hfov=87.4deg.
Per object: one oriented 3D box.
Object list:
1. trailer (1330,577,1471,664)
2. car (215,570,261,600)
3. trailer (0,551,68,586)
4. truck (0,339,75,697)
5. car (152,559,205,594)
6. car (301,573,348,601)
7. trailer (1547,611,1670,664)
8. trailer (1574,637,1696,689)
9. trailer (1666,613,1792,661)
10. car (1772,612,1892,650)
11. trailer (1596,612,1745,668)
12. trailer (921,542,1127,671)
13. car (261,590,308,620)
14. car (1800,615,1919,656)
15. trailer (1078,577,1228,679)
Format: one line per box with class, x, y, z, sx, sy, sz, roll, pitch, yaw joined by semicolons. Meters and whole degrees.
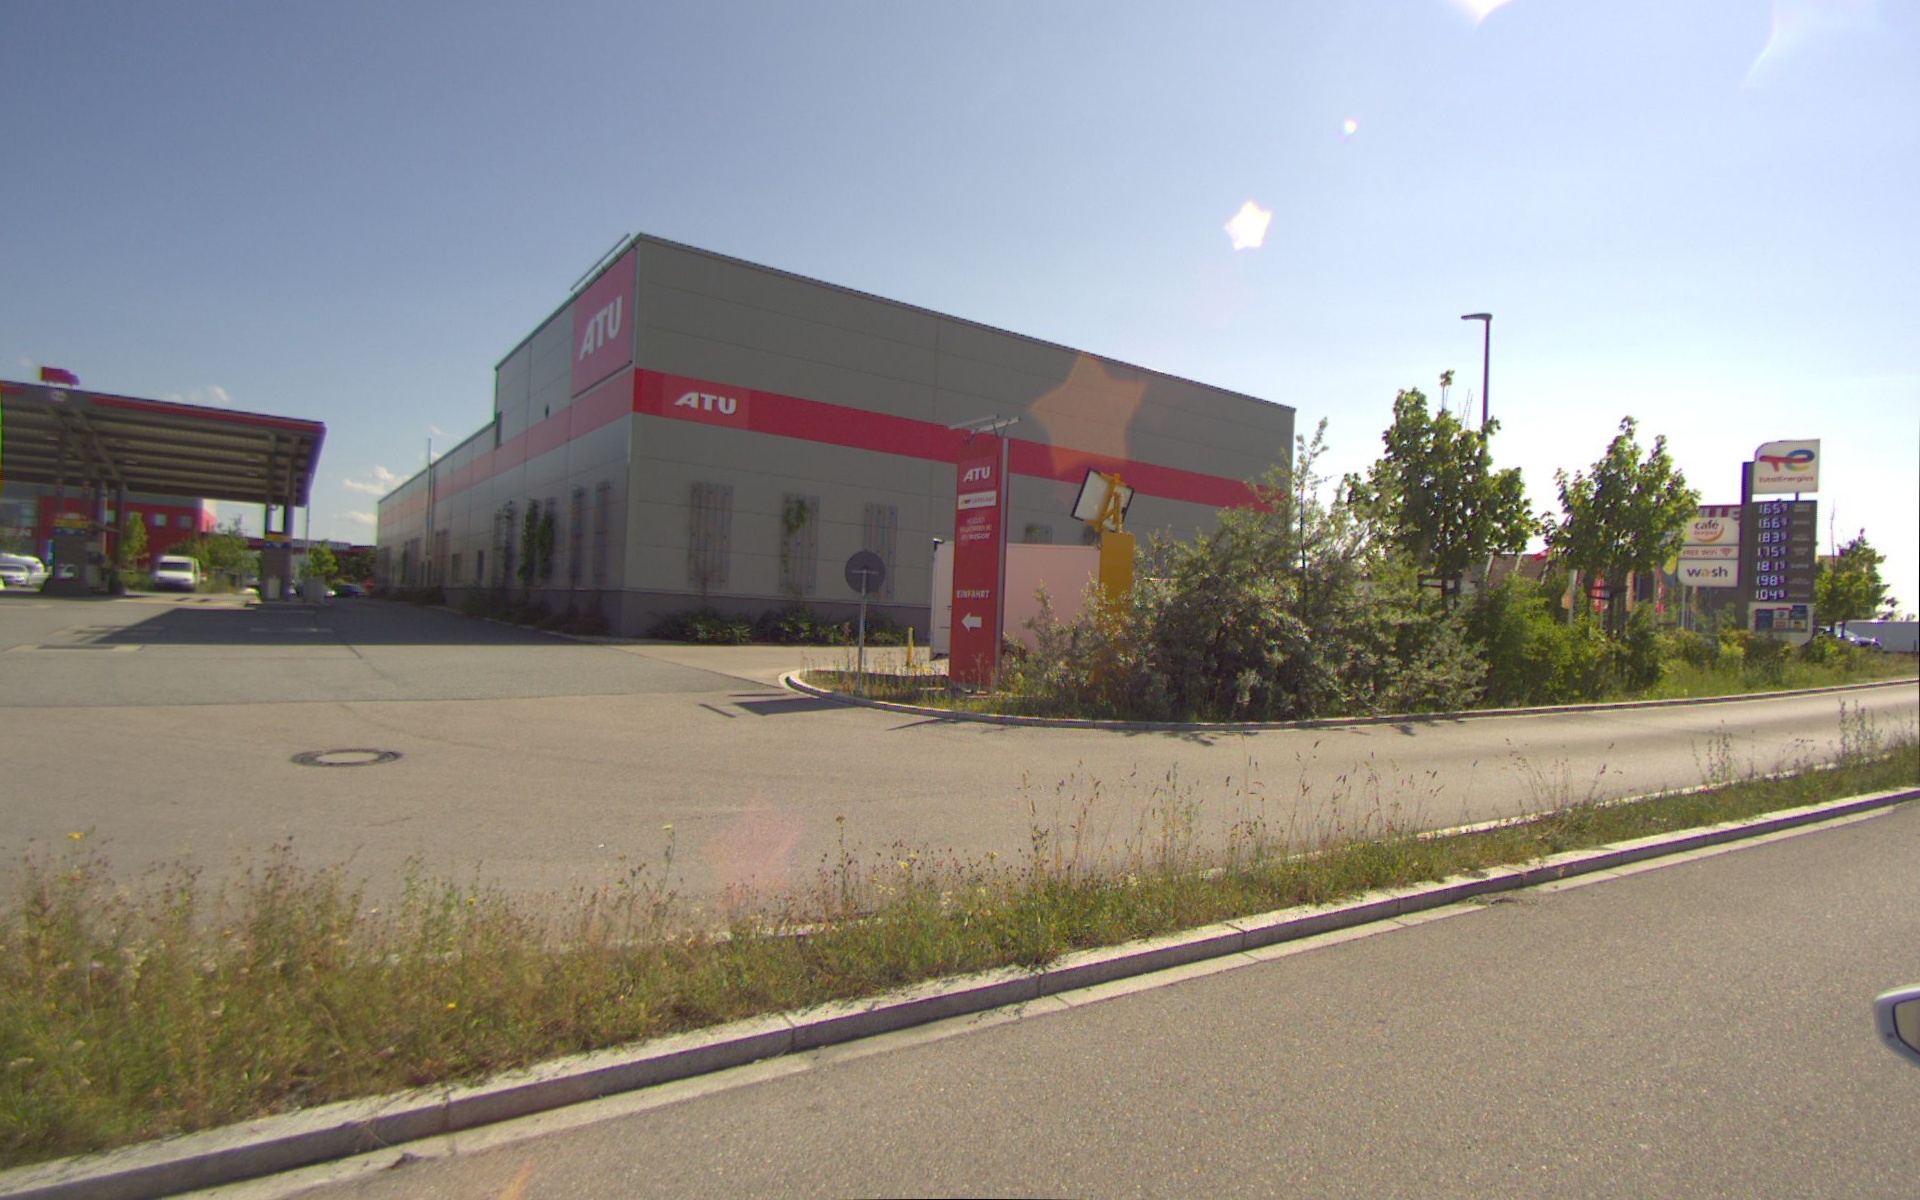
trailer;11.424;0.499;26.078;3.180;2.040;1.746;2;0;27
car;-57.037;-1.217;79.304;2.370;2.216;5.413;2;0;-42
trailer;-82.429;-2.757;82.870;2.355;2.796;13.104;2;0;44
truck;-12.254;-0.870;8.341;6.792;3.362;2.633;2;0;-16
car;-52.274;-1.585;67.159;2.370;2.216;5.413;2;0;-42
car;-52.474;-1.092;82.835;2.370;2.216;5.413;2;0;-42
trailer;24.547;1.379;38.177;3.626;1.795;1.806;2;0;24
trailer;20.343;1.866;30.301;2.870;1.340;1.382;2;0;42
trailer;30.377;1.432;39.828;3.626;1.795;1.806;0;-1;24
car;41.805;1.460;48.231;1.794;1.639;3.936;2;0;-25
trailer;23.381;1.288;33.212;3.626;1.471;1.707;5;1;24
trailer;1.171;0.087;17.650;3.143;2.040;2.000;2;0;19
car;-54.799;0.411;81.403;2.370;2.216;5.413;2;0;-42
car;56.761;2.198;62.775;6.155;2.264;2.038;2;0;25
trailer;4.265;0.572;22.110;2.688;2.040;1.996;2;0;31
